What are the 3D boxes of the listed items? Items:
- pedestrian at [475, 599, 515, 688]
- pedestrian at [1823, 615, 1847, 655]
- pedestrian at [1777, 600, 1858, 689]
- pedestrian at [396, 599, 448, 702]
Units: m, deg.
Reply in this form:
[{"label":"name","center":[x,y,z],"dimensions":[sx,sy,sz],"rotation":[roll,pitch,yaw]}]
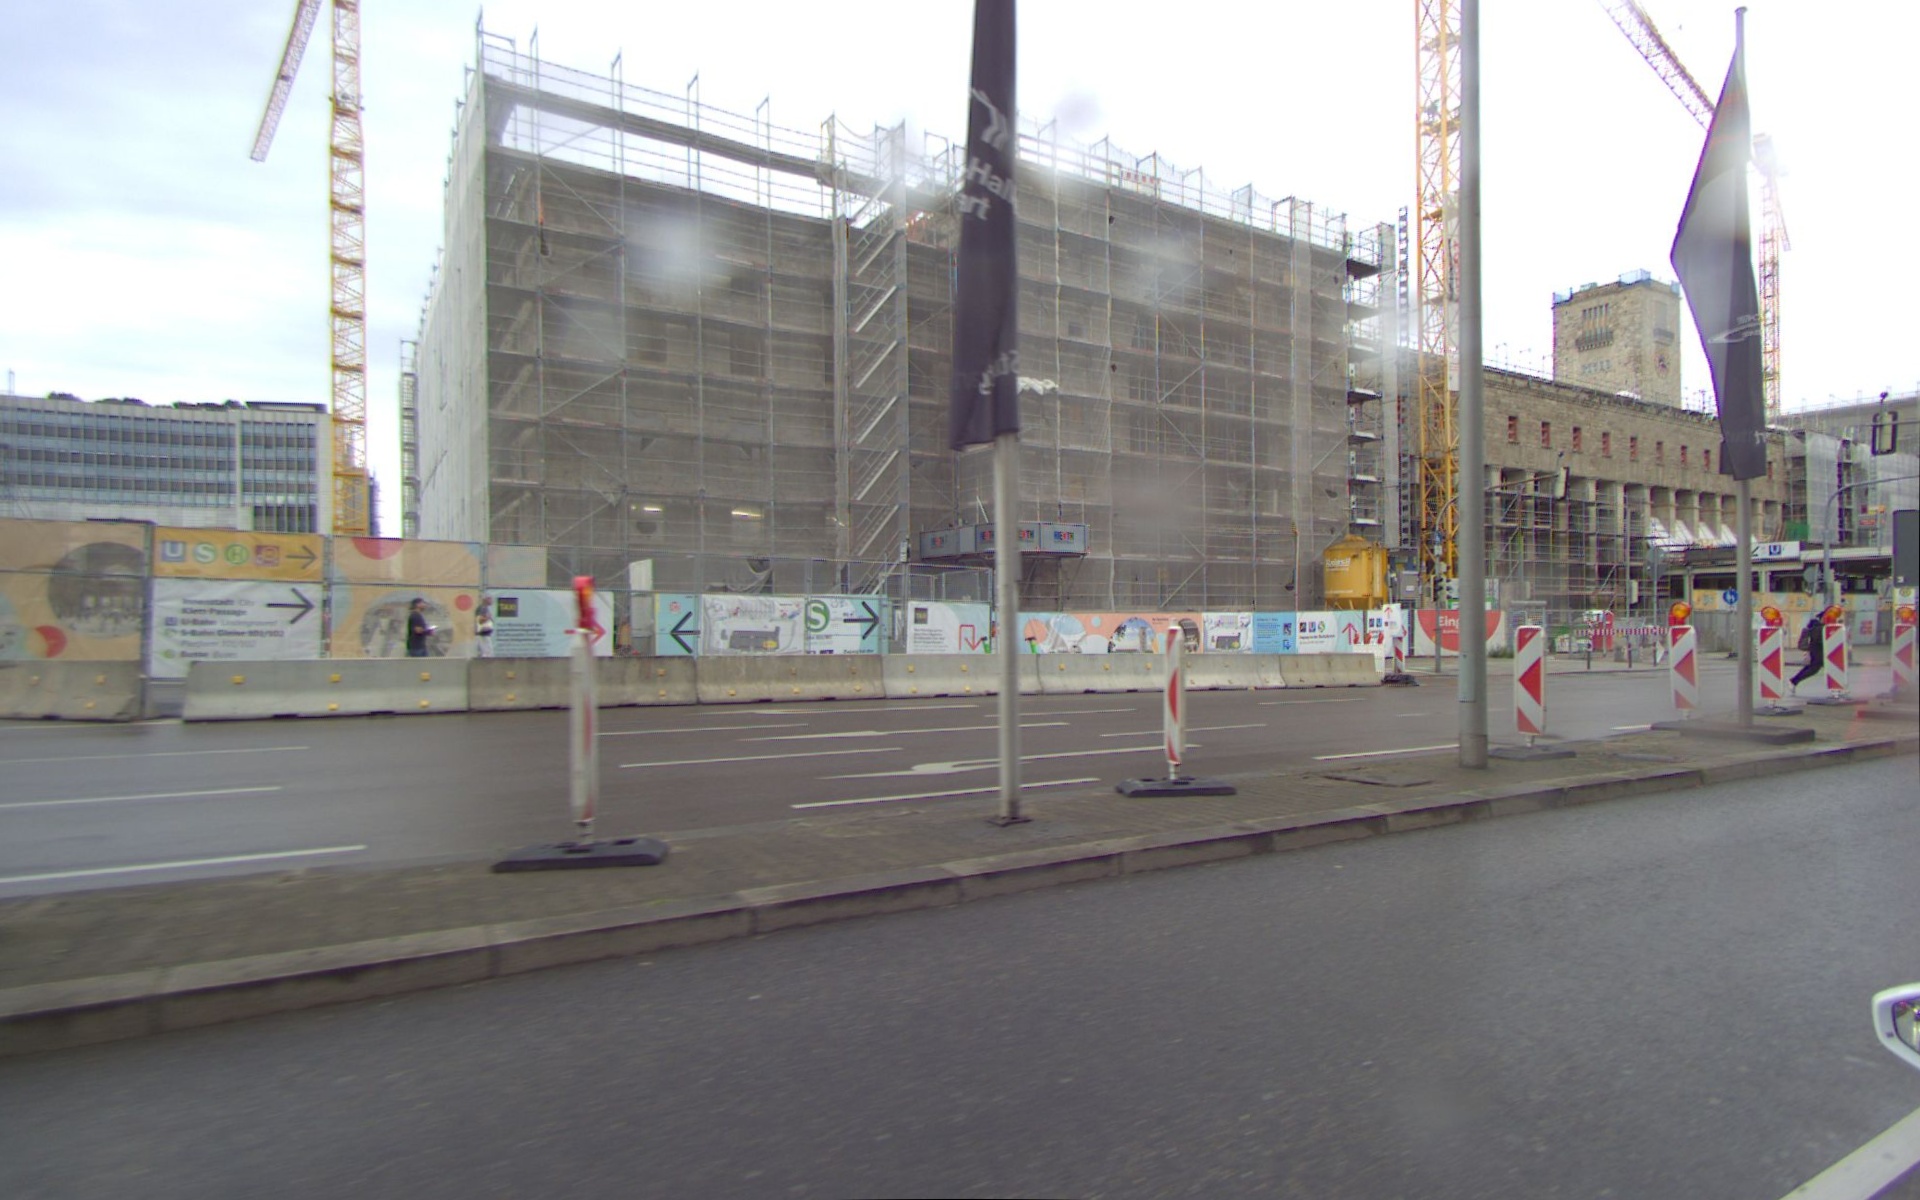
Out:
[{"label":"pedestrian","center":[-9.917,0.929,21.421],"dimensions":[0.709,1.860,0.478],"rotation":[1,0,-30]},{"label":"pedestrian","center":[41.502,1.663,47.642],"dimensions":[0.789,1.879,0.659],"rotation":[1,-1,-30]},{"label":"pedestrian","center":[17.707,0.925,20.757],"dimensions":[0.646,1.774,1.090],"rotation":[1,-3,-32]},{"label":"pedestrian","center":[-9.953,0.916,18.578],"dimensions":[0.810,1.860,0.576],"rotation":[1,0,-30]}]
